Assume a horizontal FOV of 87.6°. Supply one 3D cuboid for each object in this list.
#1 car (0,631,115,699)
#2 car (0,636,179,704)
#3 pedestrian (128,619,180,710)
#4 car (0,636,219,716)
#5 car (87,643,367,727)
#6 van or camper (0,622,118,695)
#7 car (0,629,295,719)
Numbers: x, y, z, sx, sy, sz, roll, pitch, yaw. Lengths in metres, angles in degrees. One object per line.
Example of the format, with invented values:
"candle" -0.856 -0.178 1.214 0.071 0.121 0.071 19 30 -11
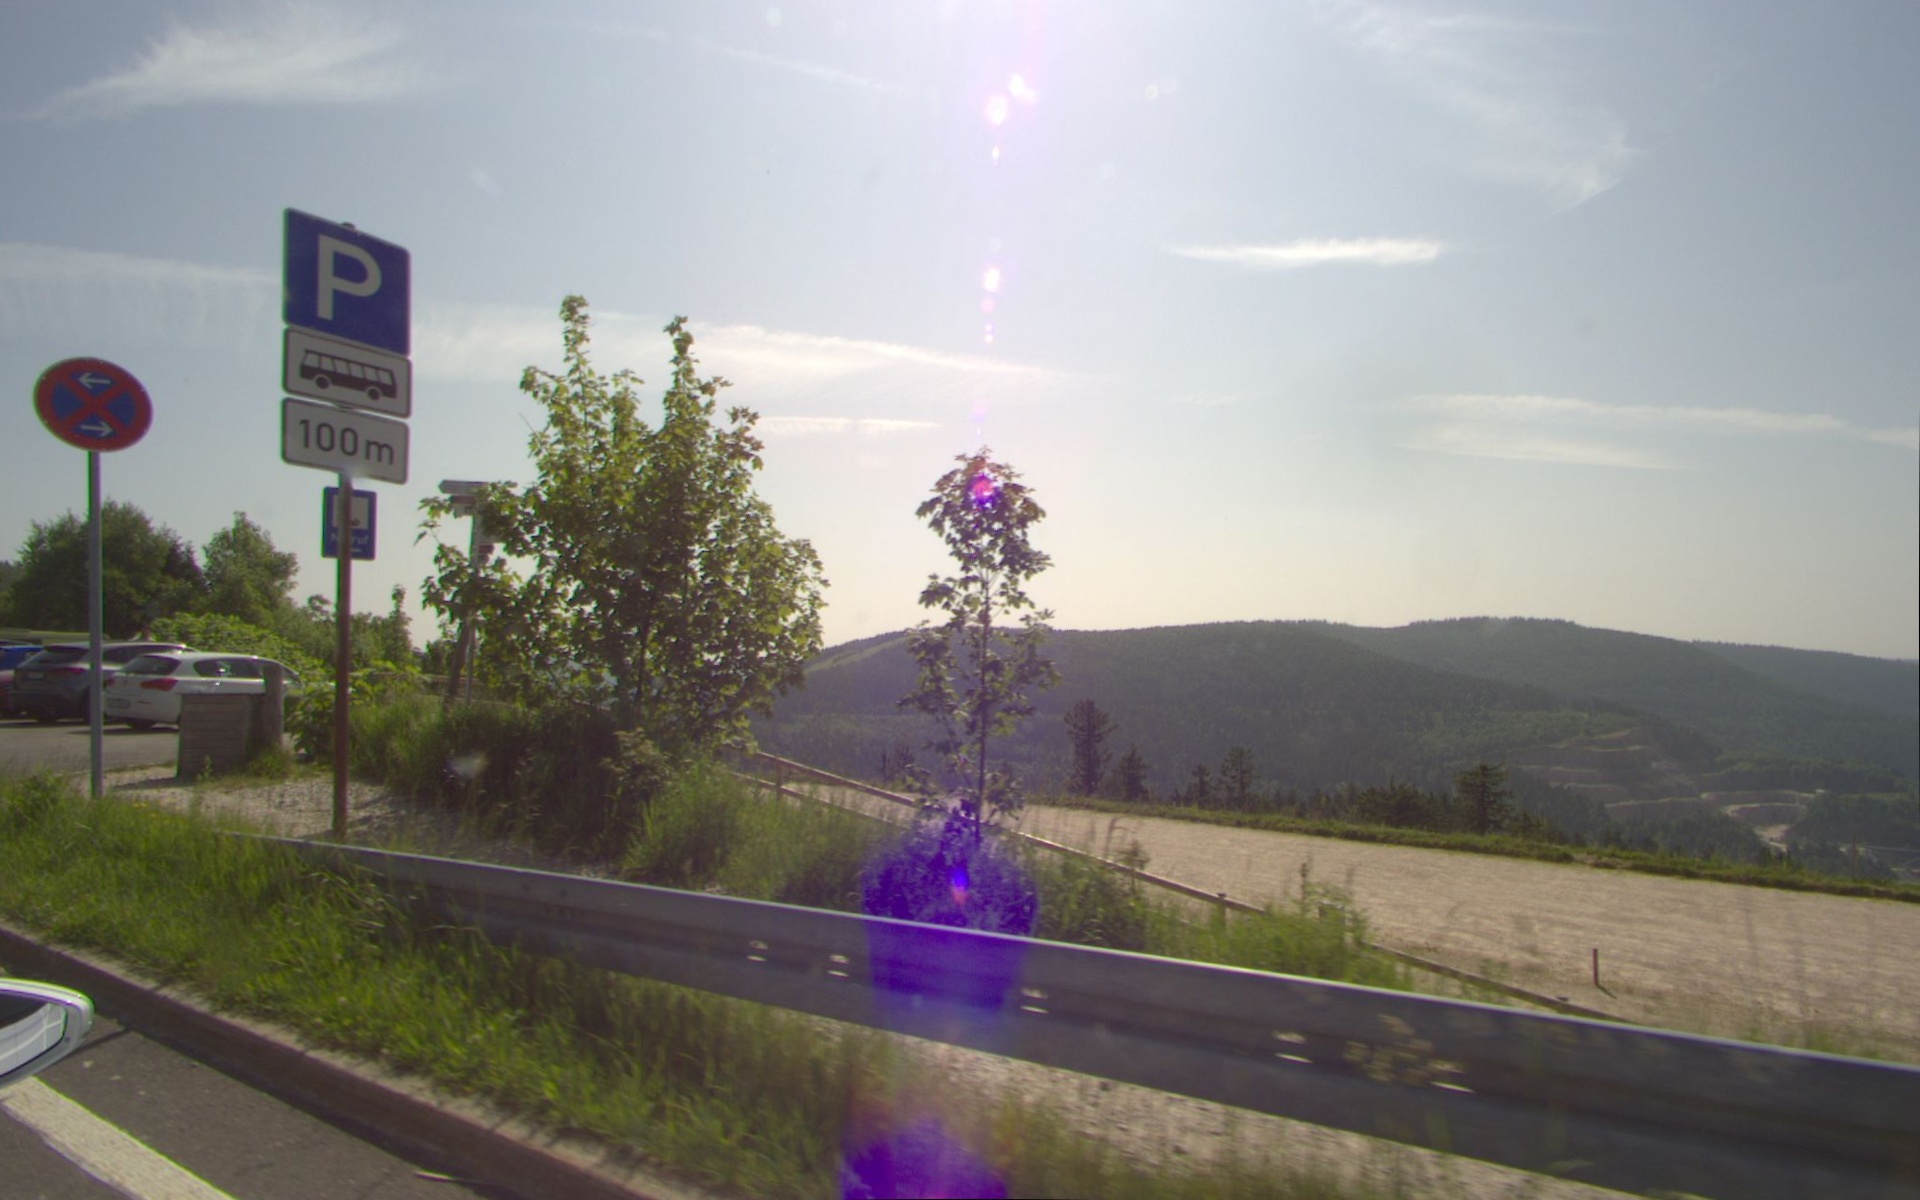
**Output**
"car" -23.986 1.619 24.976 1.885 1.633 3.992 -1 -5 24
"car" -21.375 1.710 24.151 1.623 1.513 3.580 0 -5 31
"pedestrian" -17.361 1.402 21.578 0.670 1.922 0.607 -2 -5 36
"car" -18.572 1.616 21.410 1.810 1.527 3.997 0 -5 20
"car" -13.626 1.609 18.932 1.628 1.402 3.997 0 -5 20
"van or camper" -28.269 1.675 29.333 1.855 2.037 5.088 -1 -6 32
"car" -16.319 1.524 20.340 1.874 1.587 4.409 0 -5 19
